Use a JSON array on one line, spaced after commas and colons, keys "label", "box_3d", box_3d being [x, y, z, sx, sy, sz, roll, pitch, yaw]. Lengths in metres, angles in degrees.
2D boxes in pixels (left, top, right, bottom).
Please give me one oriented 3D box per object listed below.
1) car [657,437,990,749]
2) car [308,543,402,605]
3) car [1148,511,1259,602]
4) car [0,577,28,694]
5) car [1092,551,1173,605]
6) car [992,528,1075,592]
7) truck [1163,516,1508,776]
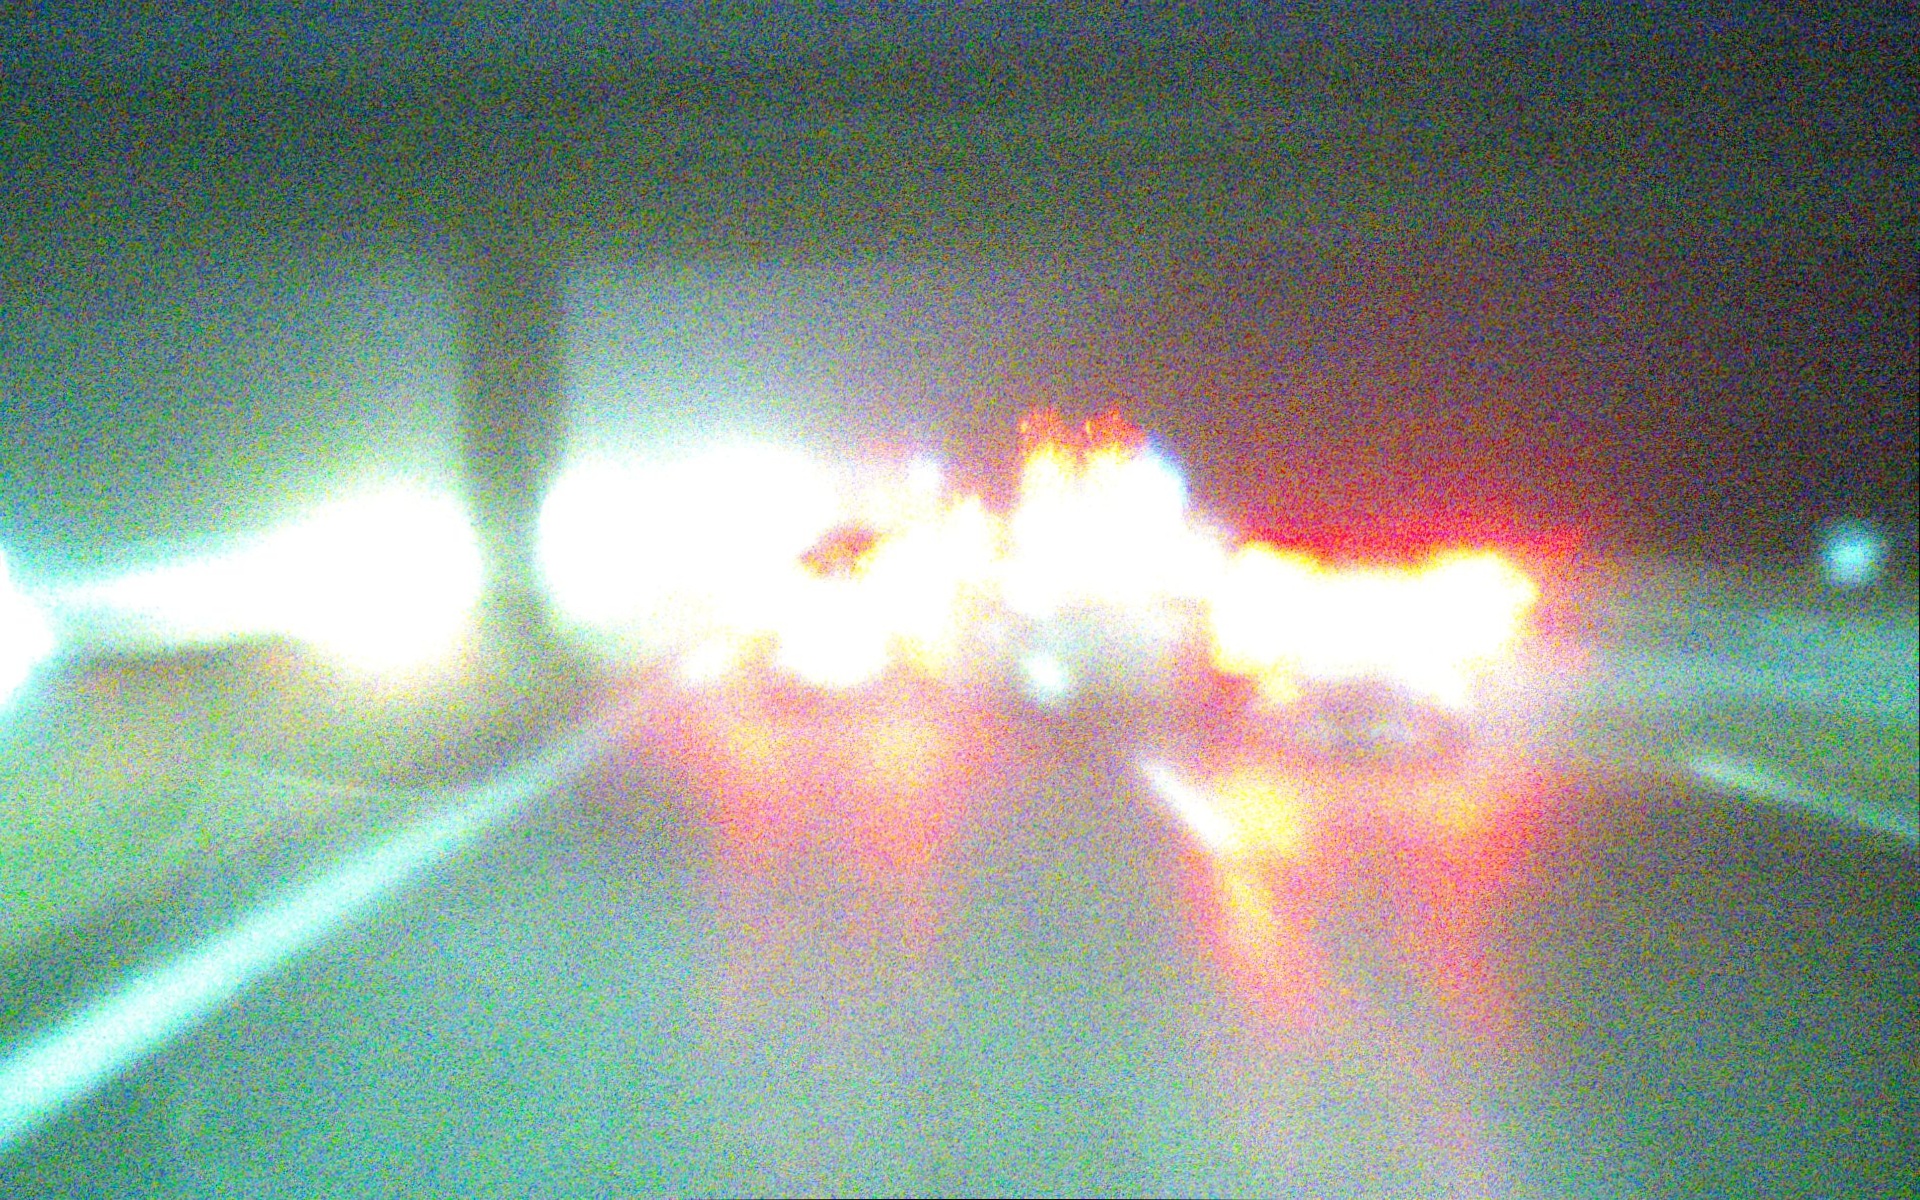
[{"label": "car", "box_3d": [-1.318, -0.133, 31.791, 2.709, 2.525, 5.832, -2, 2, -3]}, {"label": "car", "box_3d": [-15.536, -0.684, 88.432, 1.784, 1.521, 4.381, 1, 1, -2]}, {"label": "car", "box_3d": [5.638, -1.047, 80.223, 2.046, 1.967, 5.407, -2, 2, -1]}, {"label": "car", "box_3d": [-13.537, 0.525, 44.853, 1.734, 1.503, 3.795, -2, 2, -1]}, {"label": "car", "box_3d": [5.188, -0.687, 103.968, 1.894, 1.481, 4.963, 1, 1, -3]}, {"label": "car", "box_3d": [1.676, -0.930, 79.146, 1.612, 1.407, 3.792, 0, 1, -3]}, {"label": "truck", "box_3d": [2.634, 0.274, 25.236, 1.843, 1.690, 4.855, 1, 1, -2]}]
